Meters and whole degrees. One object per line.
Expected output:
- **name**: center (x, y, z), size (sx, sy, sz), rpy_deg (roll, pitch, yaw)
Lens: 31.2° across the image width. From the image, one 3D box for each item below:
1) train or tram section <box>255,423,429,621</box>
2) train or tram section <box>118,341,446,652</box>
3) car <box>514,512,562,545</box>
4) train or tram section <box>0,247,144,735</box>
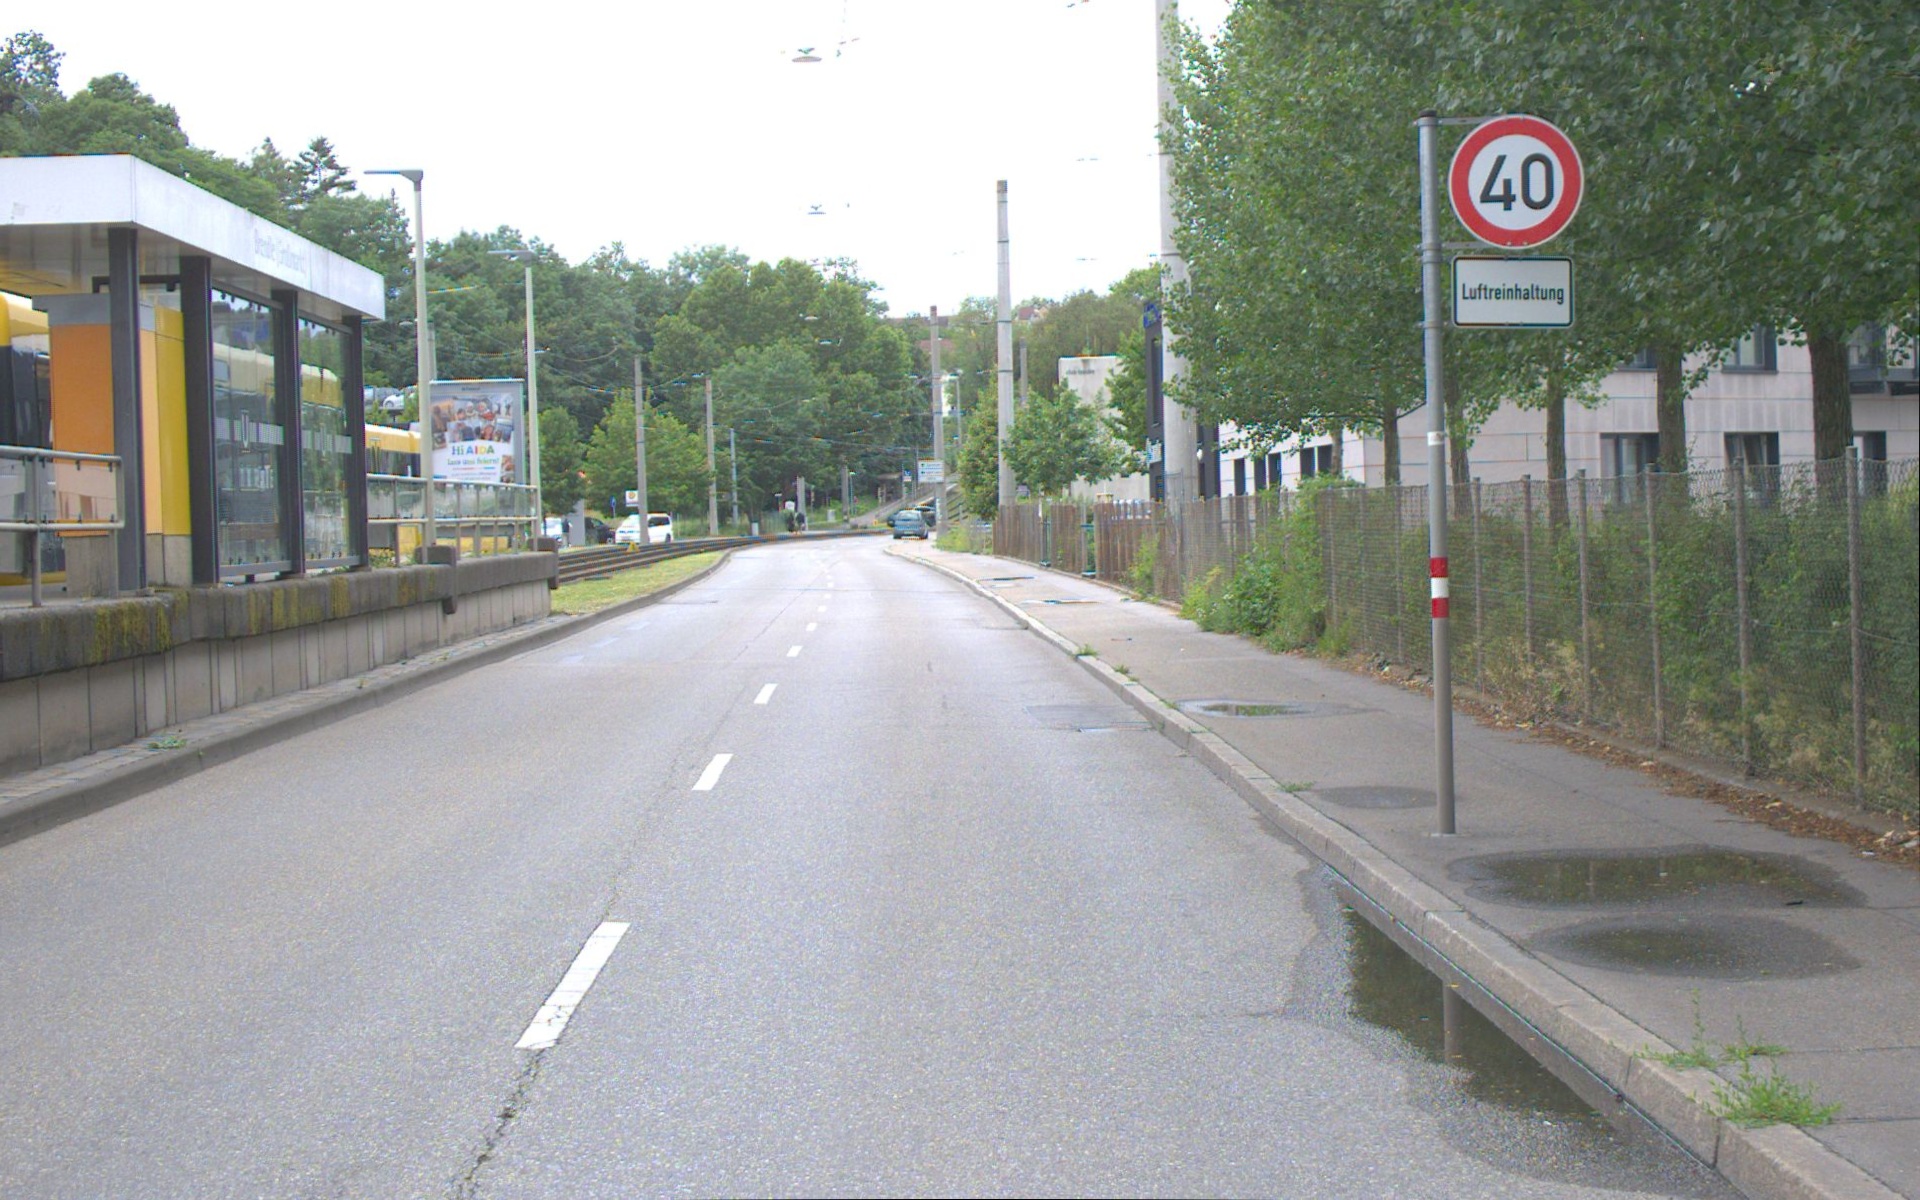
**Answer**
- **train or tram section**: center (-12.739, -1.590, 71.571), size (1.993, 3.782, 9.179), rpy_deg (-2, 1, -1)
- **train or tram section**: center (-9.805, -1.557, 50.992), size (2.971, 4.051, 10.198), rpy_deg (-2, 2, -2)
- **car**: center (-26.177, -4.429, 213.306), size (1.828, 1.700, 4.141), rpy_deg (-3, -2, 9)
- **train or tram section**: center (-9.126, -0.829, 27.077), size (2.740, 3.952, 11.914), rpy_deg (-2, 2, -2)
